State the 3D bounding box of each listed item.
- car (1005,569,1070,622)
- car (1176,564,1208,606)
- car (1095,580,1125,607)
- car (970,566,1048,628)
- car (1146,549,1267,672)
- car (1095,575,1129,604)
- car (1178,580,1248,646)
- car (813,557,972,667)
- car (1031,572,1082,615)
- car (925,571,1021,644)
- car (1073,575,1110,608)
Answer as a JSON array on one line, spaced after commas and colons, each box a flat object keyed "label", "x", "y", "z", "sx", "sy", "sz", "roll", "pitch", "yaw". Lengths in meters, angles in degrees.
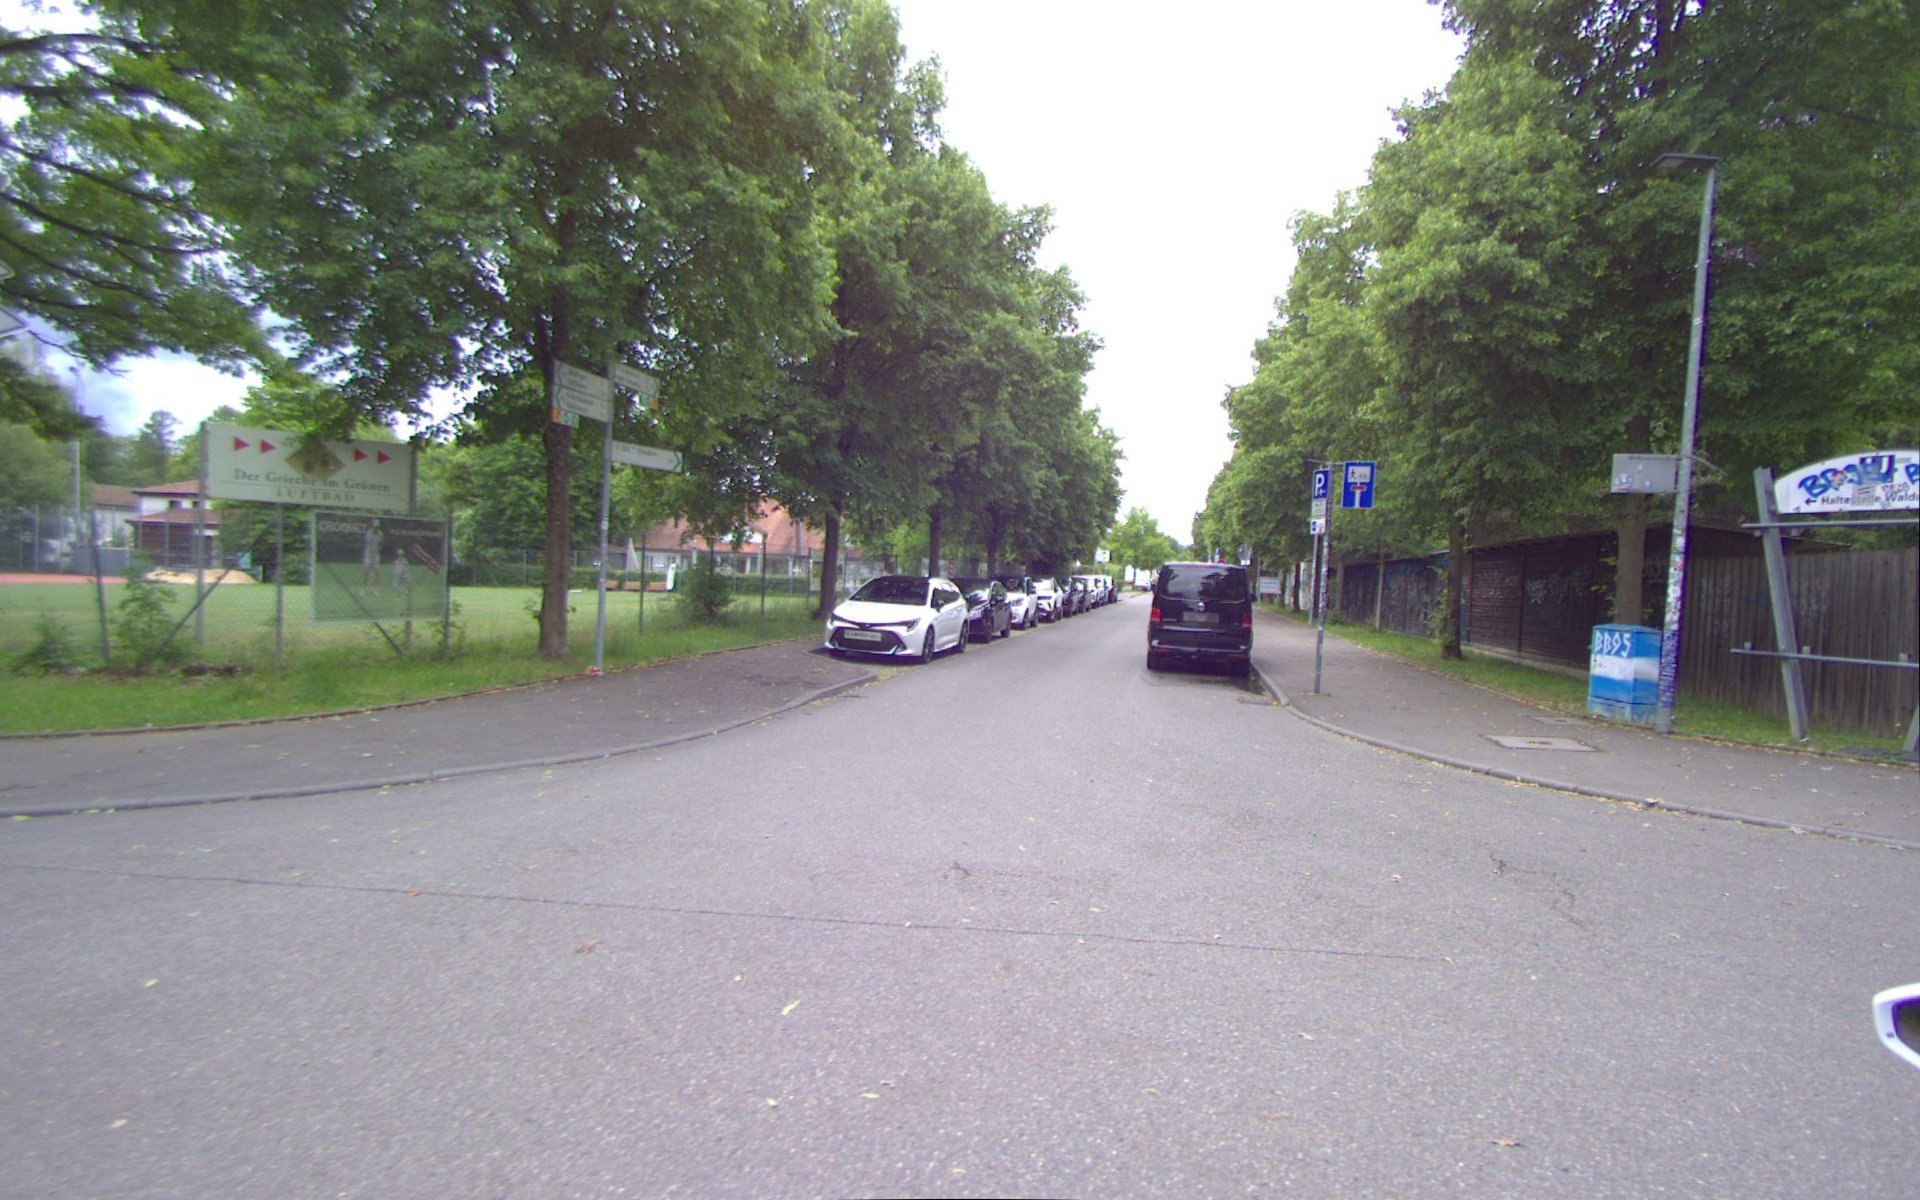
[{"label": "car", "x": 2.750, "y": -0.169, "z": 34.850, "sx": 1.663, "sy": 1.617, "sz": 4.001, "roll": 5, "pitch": 2, "yaw": 11}, {"label": "car", "x": 17.552, "y": -1.133, "z": 75.853, "sx": 2.147, "sy": 3.056, "sz": 4.898, "roll": 2, "pitch": 1, "yaw": 15}, {"label": "car", "x": 9.097, "y": -0.397, "z": 60.781, "sx": 1.566, "sy": 1.580, "sz": 3.195, "roll": 1, "pitch": 1, "yaw": 13}, {"label": "car", "x": 1.545, "y": -0.107, "z": 30.269, "sx": 1.663, "sy": 1.617, "sz": 4.001, "roll": 5, "pitch": 2, "yaw": 11}, {"label": "car", "x": 4.737, "y": 0.140, "z": 19.253, "sx": 1.954, "sy": 2.041, "sz": 4.109, "roll": 2, "pitch": 1, "yaw": 15}, {"label": "car", "x": 8.345, "y": -0.589, "z": 55.105, "sx": 1.444, "sy": 1.501, "sz": 3.190, "roll": 2, "pitch": 1, "yaw": 15}, {"label": "car", "x": 6.488, "y": 0.281, "z": 25.716, "sx": 1.570, "sy": 1.501, "sz": 3.522, "roll": 2, "pitch": 1, "yaw": 15}, {"label": "car", "x": -1.061, "y": 0.155, "z": 18.101, "sx": 1.735, "sy": 1.617, "sz": 4.218, "roll": 5, "pitch": 2, "yaw": 11}, {"label": "car", "x": 3.851, "y": -0.270, "z": 39.650, "sx": 1.566, "sy": 1.477, "sz": 3.195, "roll": 5, "pitch": 2, "yaw": 11}, {"label": "car", "x": 0.382, "y": 0.134, "z": 23.728, "sx": 1.519, "sy": 1.474, "sz": 3.667, "roll": 5, "pitch": 2, "yaw": 11}, {"label": "car", "x": 6.621, "y": -0.443, "z": 50.258, "sx": 1.566, "sy": 1.580, "sz": 3.195, "roll": 1, "pitch": 1, "yaw": 12}]
